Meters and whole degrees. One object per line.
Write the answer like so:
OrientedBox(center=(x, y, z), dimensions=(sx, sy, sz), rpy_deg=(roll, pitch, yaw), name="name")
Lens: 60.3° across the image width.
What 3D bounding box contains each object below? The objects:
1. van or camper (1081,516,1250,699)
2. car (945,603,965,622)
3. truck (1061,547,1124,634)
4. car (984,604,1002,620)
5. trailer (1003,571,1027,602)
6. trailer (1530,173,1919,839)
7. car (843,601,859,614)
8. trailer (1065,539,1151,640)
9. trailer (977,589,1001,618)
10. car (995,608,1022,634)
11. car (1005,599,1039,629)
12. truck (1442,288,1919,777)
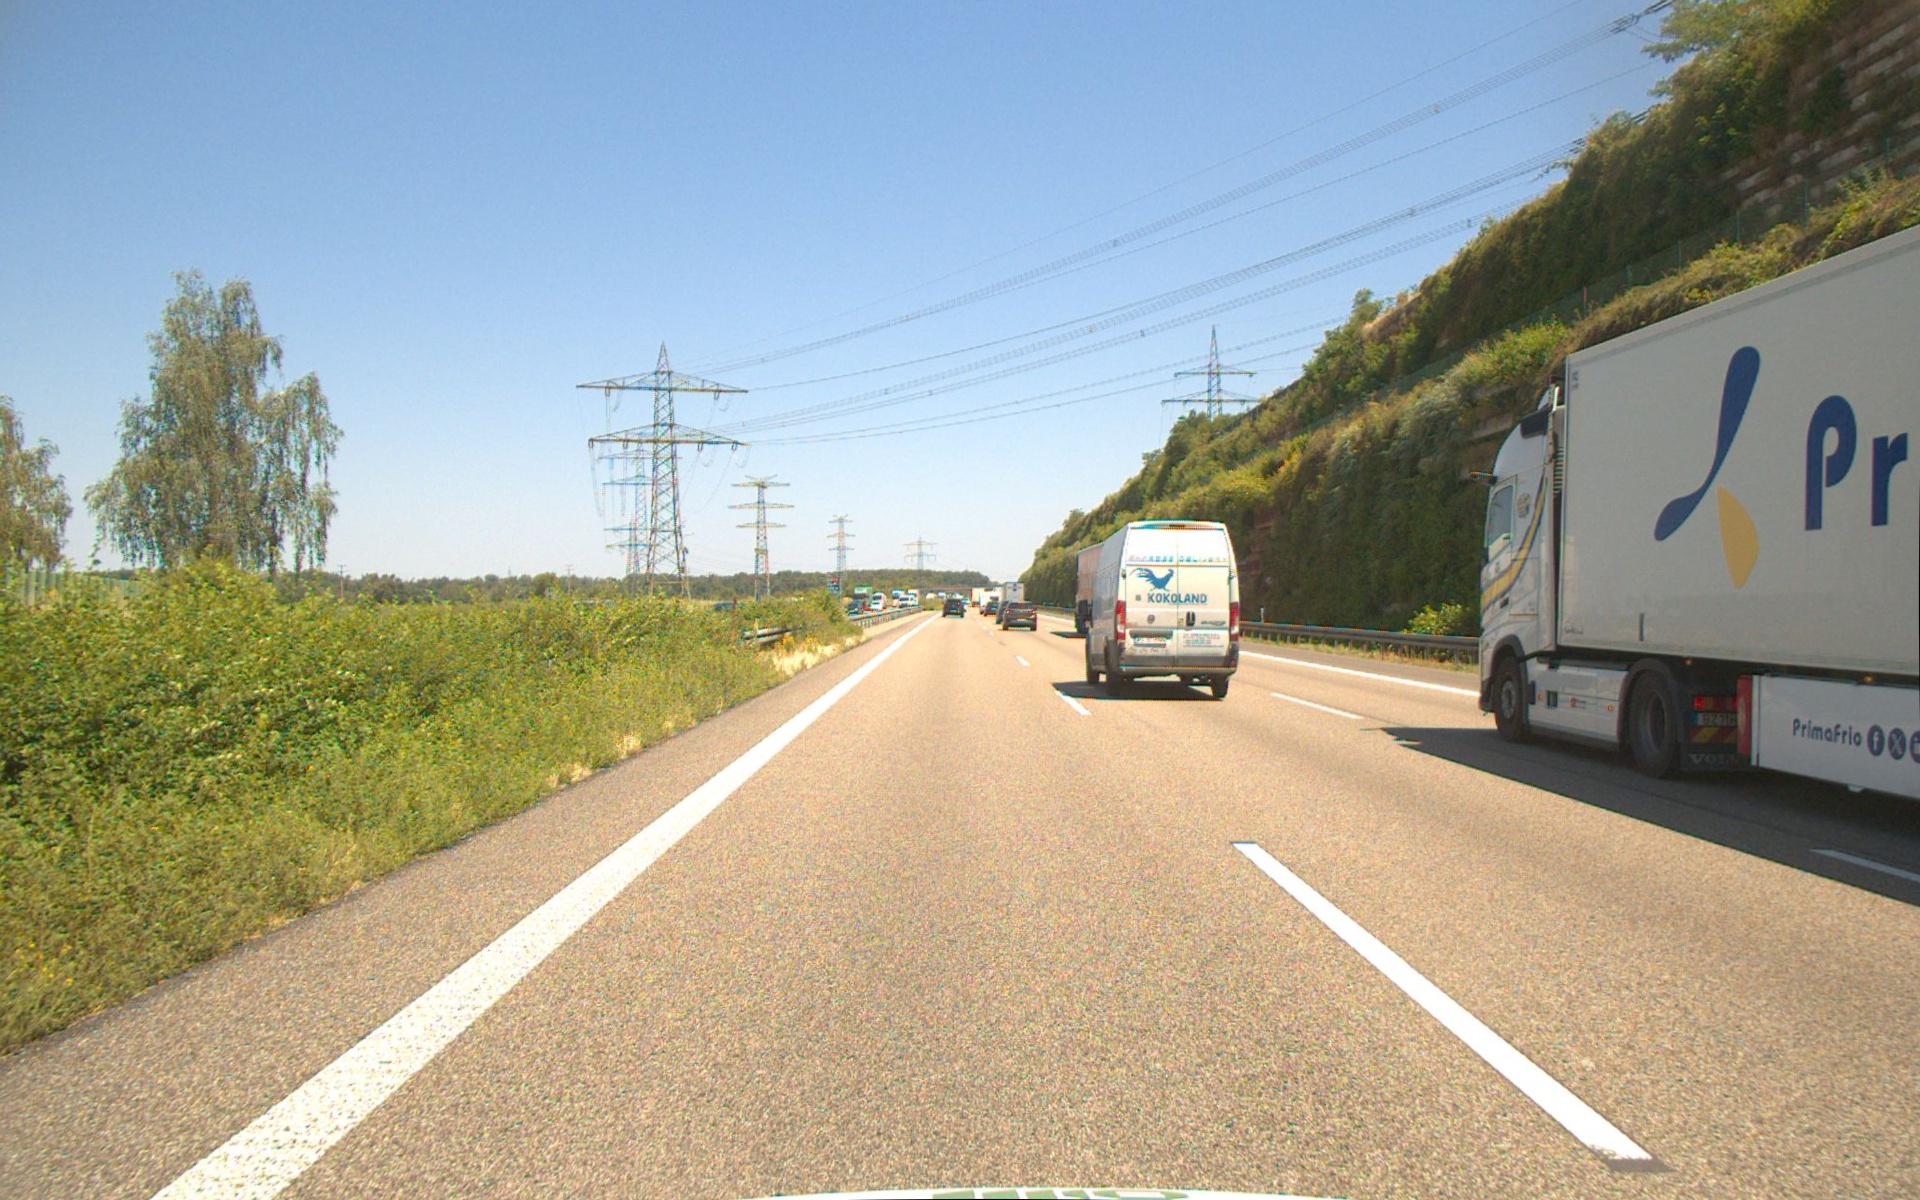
OrientedBox(center=(3.442, 0.120, 29.070), dimensions=(2.054, 2.817, 6.756), rpy_deg=(0, 0, 0), name="van or camper")
OrientedBox(center=(-0.489, 1.166, 151.577), dimensions=(1.792, 1.700, 4.000), rpy_deg=(-1, 0, 0), name="car")
OrientedBox(center=(6.426, -0.456, 80.932), dimensions=(2.564, 4.062, 6.526), rpy_deg=(0, 0, 0), name="truck")
OrientedBox(center=(3.335, 1.194, 165.468), dimensions=(1.792, 1.552, 4.000), rpy_deg=(-1, 0, 1), name="car")
OrientedBox(center=(7.664, -1.780, 232.861), dimensions=(3.117, 4.193, 13.431), rpy_deg=(0, 0, 1), name="trailer")
OrientedBox(center=(7.415, -0.596, 9.205), dimensions=(2.463, 4.285, 17.025), rpy_deg=(1, 0, 0), name="trailer")
OrientedBox(center=(-12.971, 0.850, 196.785), dimensions=(1.585, 1.485, 4.282), rpy_deg=(-3, 0, -2), name="car")
OrientedBox(center=(6.405, -0.416, 73.433), dimensions=(2.591, 4.075, 13.605), rpy_deg=(1, 0, 0), name="trailer")
OrientedBox(center=(3.306, 0.406, 188.830), dimensions=(2.557, 3.269, 9.952), rpy_deg=(0, 0, 0), name="trailer")
OrientedBox(center=(3.309, 1.434, 114.150), dimensions=(1.757, 1.682, 4.138), rpy_deg=(0, 0, 0), name="car")
OrientedBox(center=(3.326, 0.748, 89.251), dimensions=(1.713, 1.552, 3.995), rpy_deg=(0, 0, 0), name="car")
OrientedBox(center=(7.400, -0.586, 17.879), dimensions=(2.456, 4.294, 6.255), rpy_deg=(2, 0, 0), name="truck")
